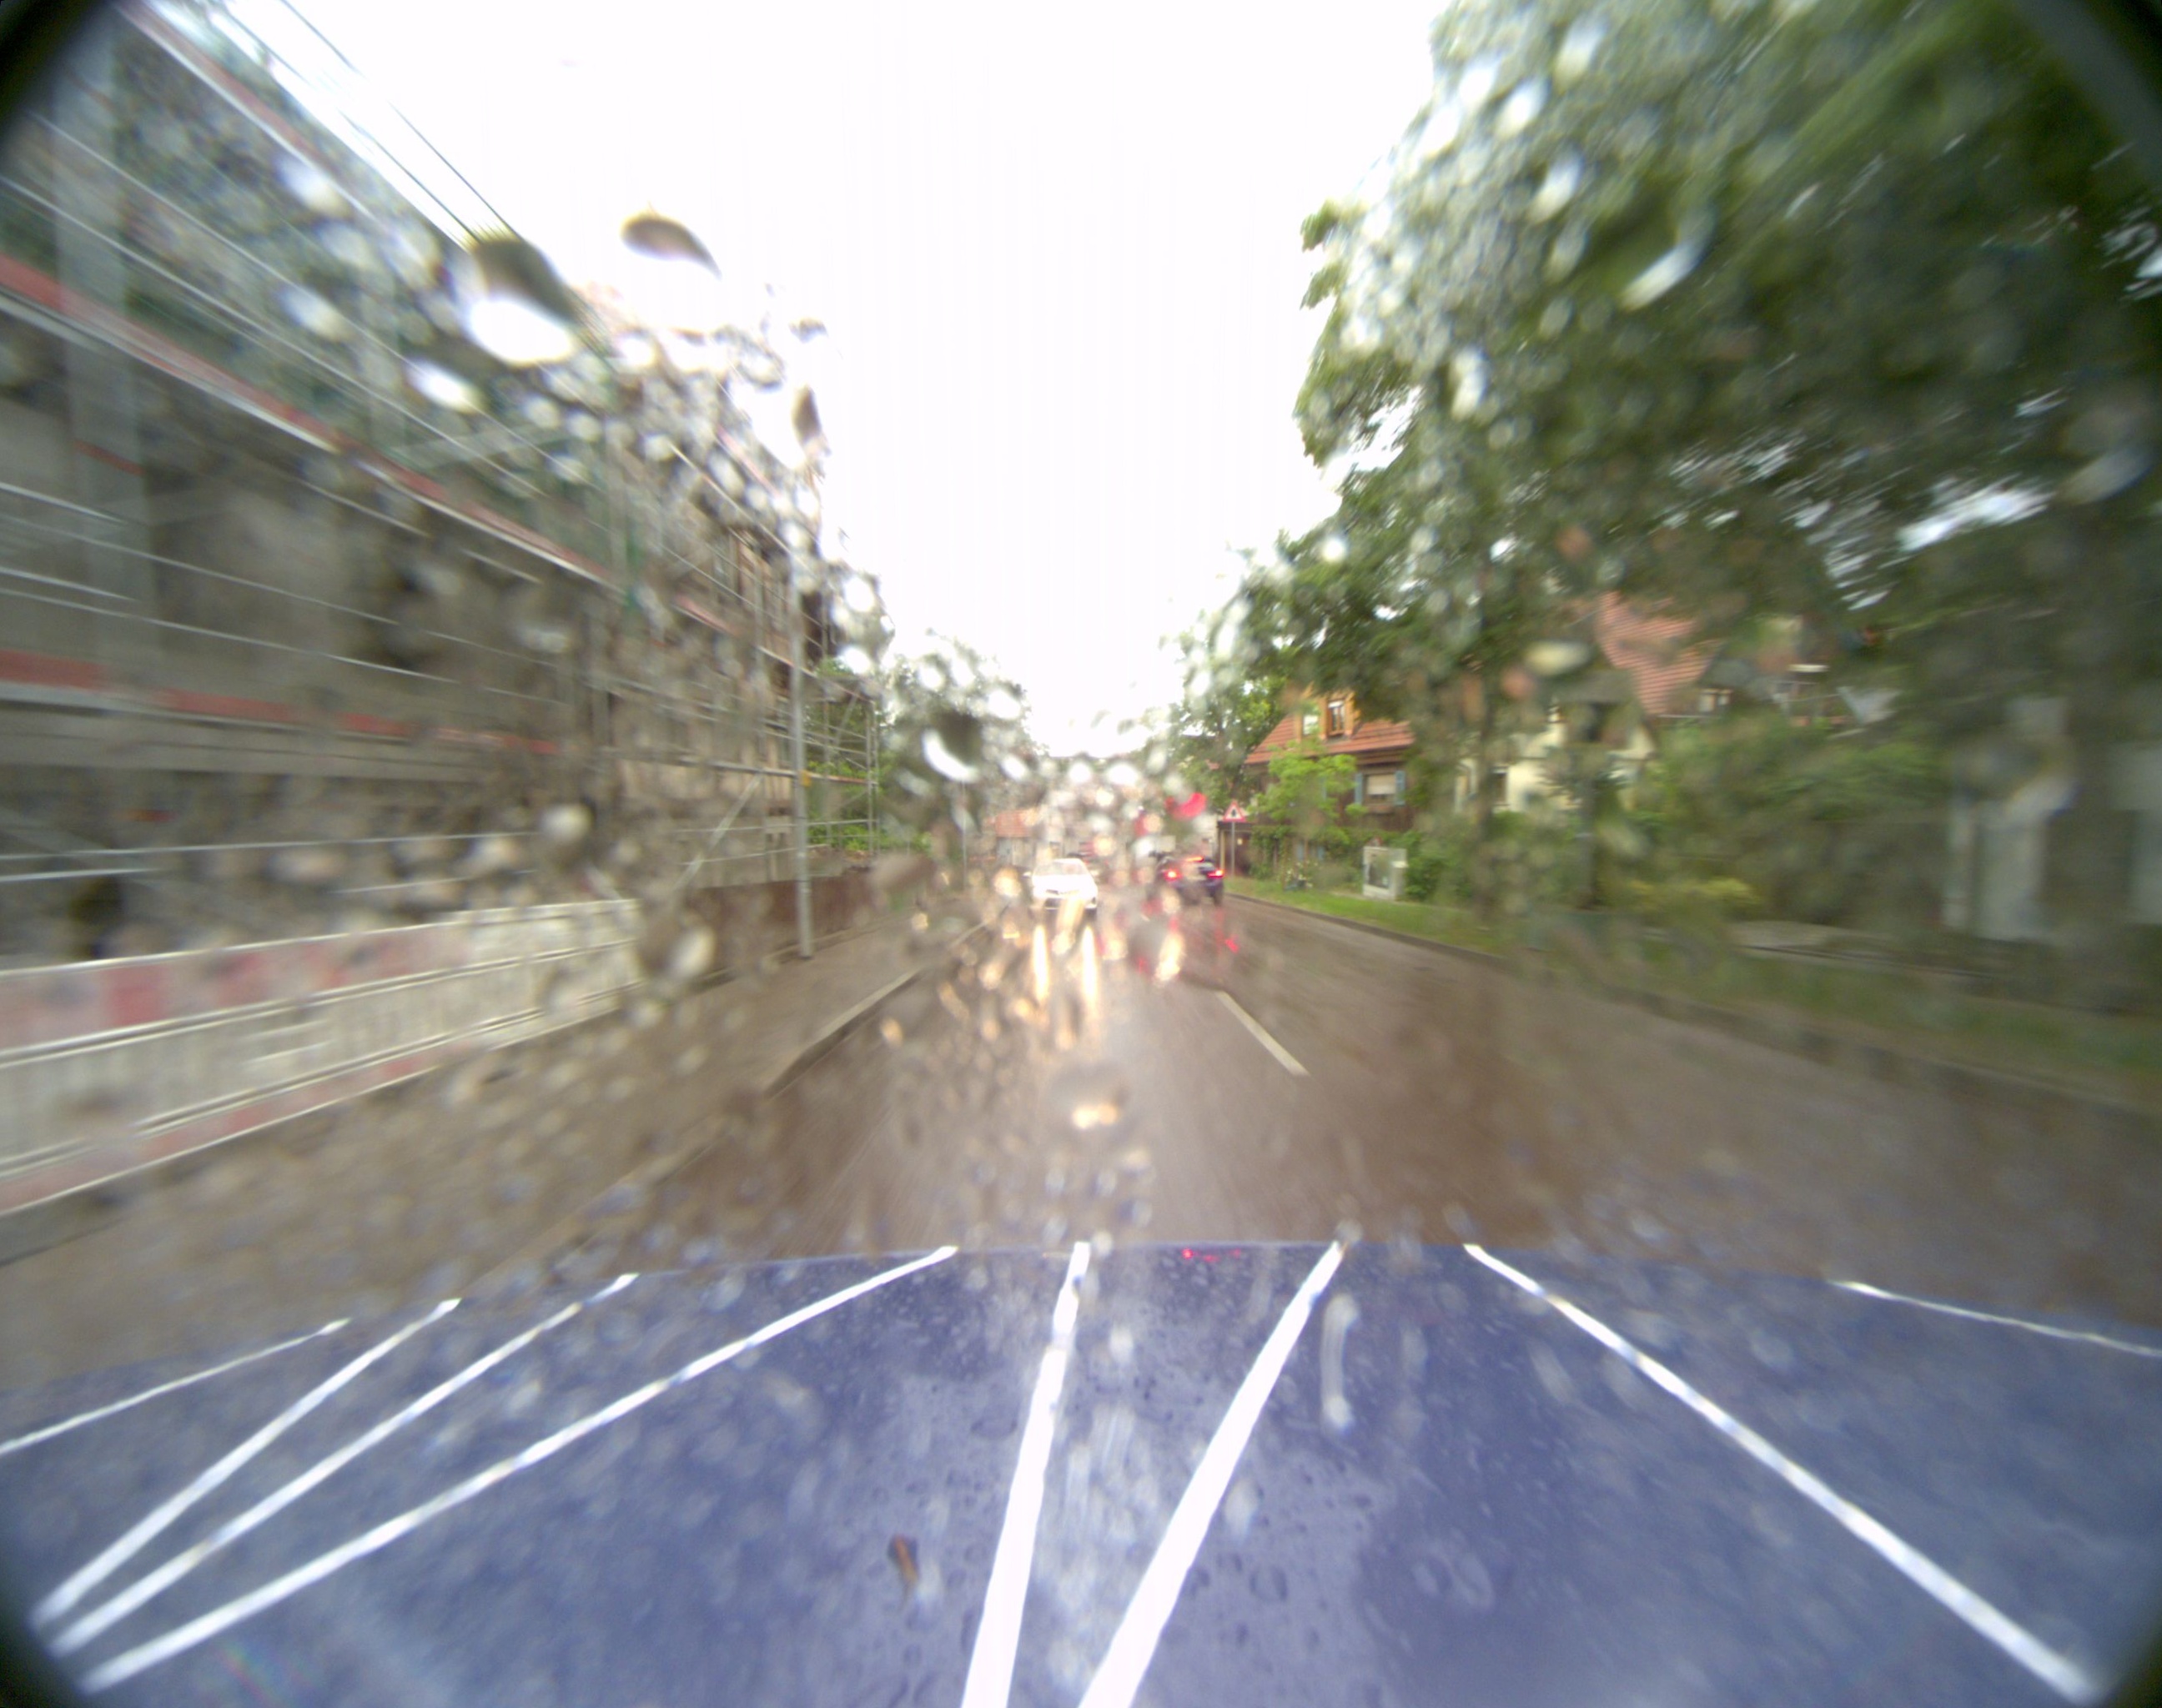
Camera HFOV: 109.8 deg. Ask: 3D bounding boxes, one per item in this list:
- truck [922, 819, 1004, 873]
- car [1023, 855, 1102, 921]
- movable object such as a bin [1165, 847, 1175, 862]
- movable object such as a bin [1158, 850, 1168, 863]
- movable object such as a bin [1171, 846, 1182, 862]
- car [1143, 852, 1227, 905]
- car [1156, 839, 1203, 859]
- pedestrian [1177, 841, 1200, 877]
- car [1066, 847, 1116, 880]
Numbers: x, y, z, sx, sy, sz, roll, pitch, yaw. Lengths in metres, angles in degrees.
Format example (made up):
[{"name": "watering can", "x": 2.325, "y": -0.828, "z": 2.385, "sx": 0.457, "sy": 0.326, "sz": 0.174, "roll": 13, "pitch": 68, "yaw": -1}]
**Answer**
[{"name": "truck", "x": -9.734, "y": -0.564, "z": 61.430, "sx": 2.861, "sy": 3.945, "sz": 10.406, "roll": -2, "pitch": 1, "yaw": -30}, {"name": "car", "x": -0.536, "y": 0.821, "z": 20.470, "sx": 1.859, "sy": 1.427, "sz": 4.015, "roll": -3, "pitch": 1, "yaw": -3}, {"name": "movable object such as a bin", "x": 6.634, "y": 0.061, "z": 56.807, "sx": 0.546, "sy": 1.117, "sz": 0.516, "roll": -2, "pitch": 1, "yaw": -25}, {"name": "movable object such as a bin", "x": 6.095, "y": 0.171, "z": 56.621, "sx": 0.518, "sy": 0.935, "sz": 0.500, "roll": -2, "pitch": 1, "yaw": -25}, {"name": "movable object such as a bin", "x": 7.166, "y": 0.005, "z": 57.028, "sx": 0.531, "sy": 1.117, "sz": 0.516, "roll": -2, "pitch": 1, "yaw": -25}, {"name": "car", "x": 3.106, "y": 0.672, "z": 23.479, "sx": 1.770, "sy": 1.432, "sz": 4.062, "roll": -2, "pitch": 0, "yaw": -4}, {"name": "car", "x": 7.697, "y": -0.389, "z": 59.711, "sx": 1.729, "sy": 1.524, "sz": 3.991, "roll": -2, "pitch": 1, "yaw": -27}, {"name": "pedestrian", "x": 5.622, "y": 0.251, "z": 39.810, "sx": 0.971, "sy": 1.820, "sz": 0.894, "roll": -2, "pitch": 1, "yaw": -8}, {"name": "car", "x": 0.473, "y": 0.468, "z": 40.296, "sx": 1.894, "sy": 1.606, "sz": 4.136, "roll": -2, "pitch": 1, "yaw": -9}]
